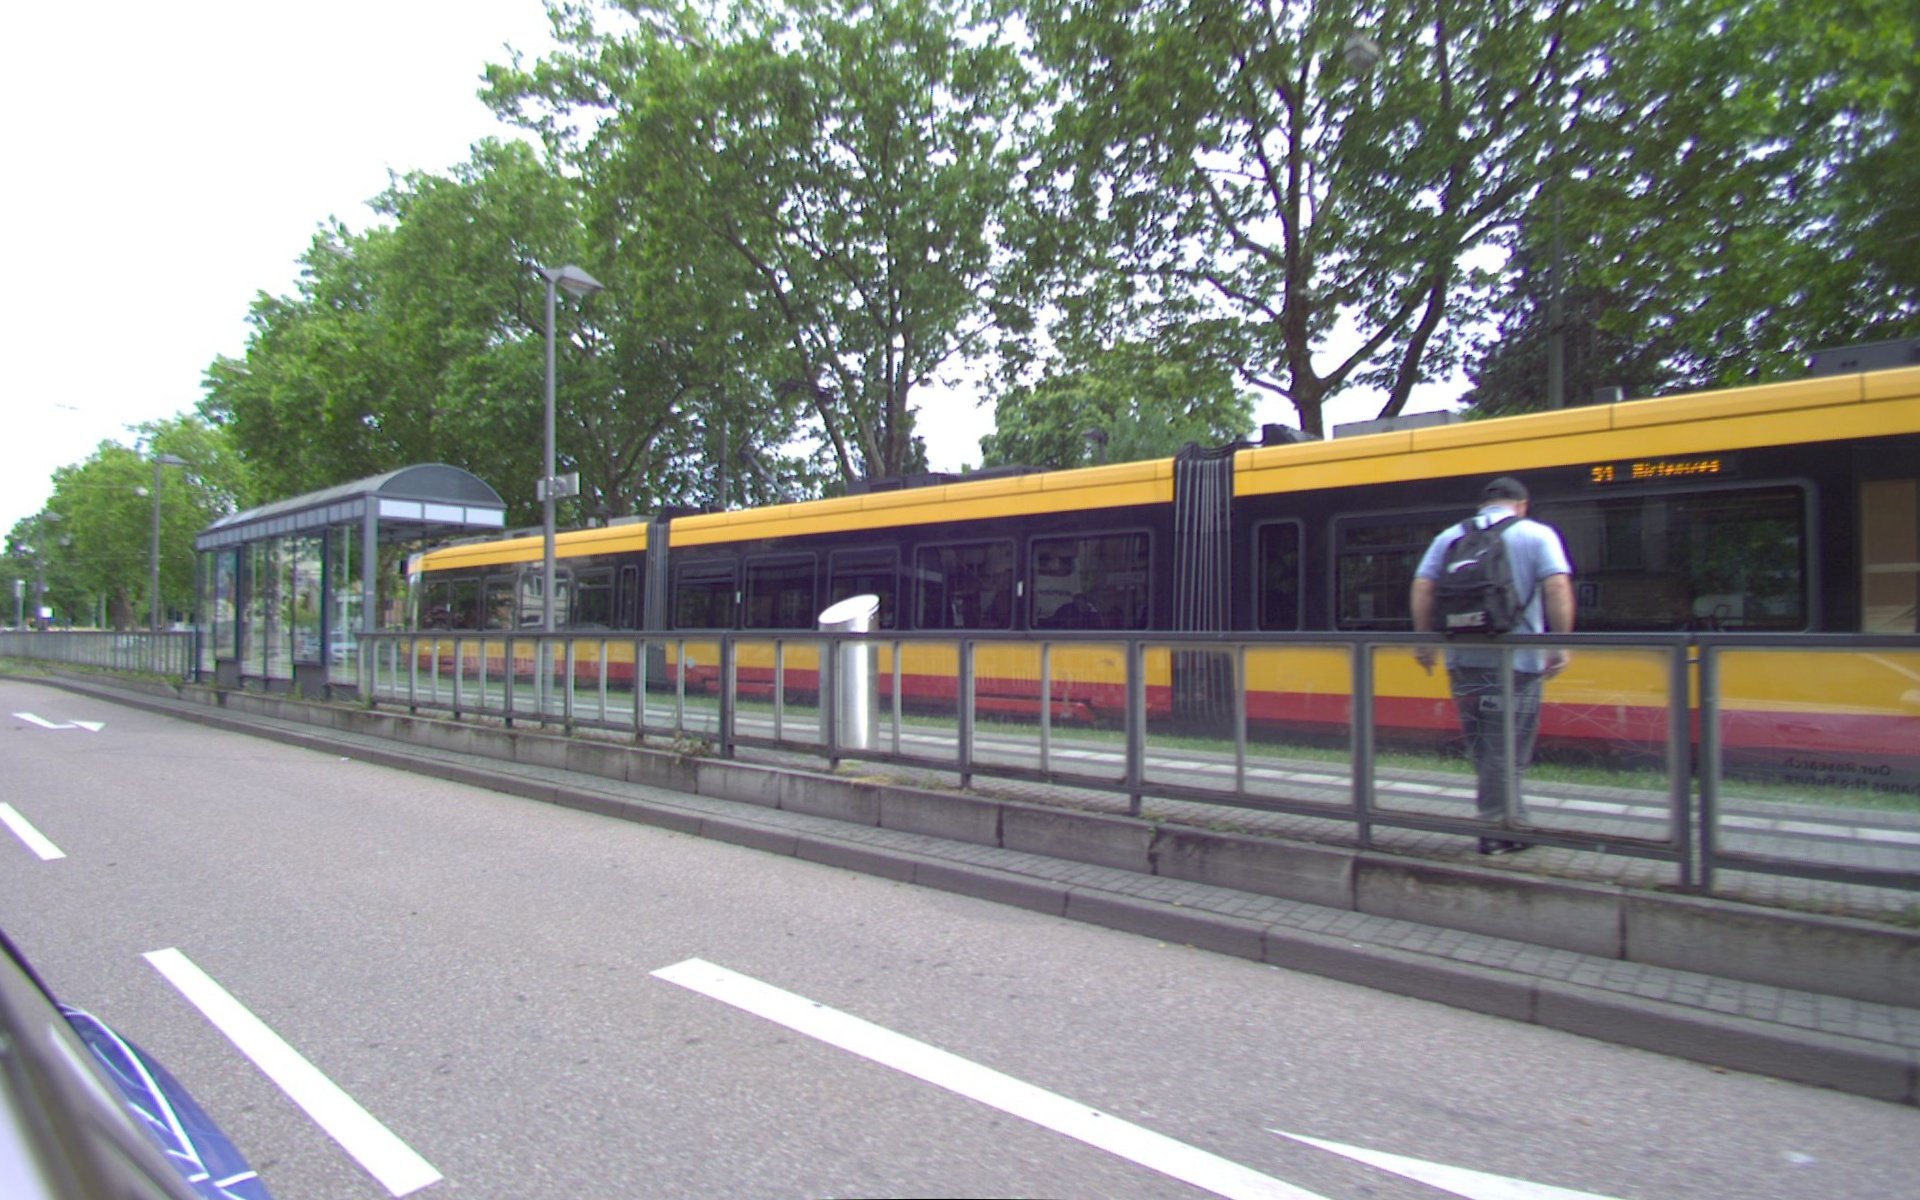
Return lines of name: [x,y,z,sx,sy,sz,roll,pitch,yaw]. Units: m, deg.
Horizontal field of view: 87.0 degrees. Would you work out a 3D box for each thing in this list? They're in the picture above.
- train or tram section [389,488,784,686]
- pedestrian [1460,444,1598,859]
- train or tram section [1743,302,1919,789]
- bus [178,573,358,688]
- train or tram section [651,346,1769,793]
train or tram section: [-9.328,-0.132,23.682,12.533,3.589,3.060,-1,-1,41]
pedestrian: [2.433,0.204,4.323,0.392,1.645,0.474,-2,-1,42]
train or tram section: [13.003,-0.526,4.178,15.286,3.558,3.028,-1,-1,41]
bus: [-13.654,0.559,19.891,3.998,2.029,1.973,-1,-1,41]
train or tram section: [1.318,-0.117,14.380,15.763,3.558,3.028,-1,-1,41]
